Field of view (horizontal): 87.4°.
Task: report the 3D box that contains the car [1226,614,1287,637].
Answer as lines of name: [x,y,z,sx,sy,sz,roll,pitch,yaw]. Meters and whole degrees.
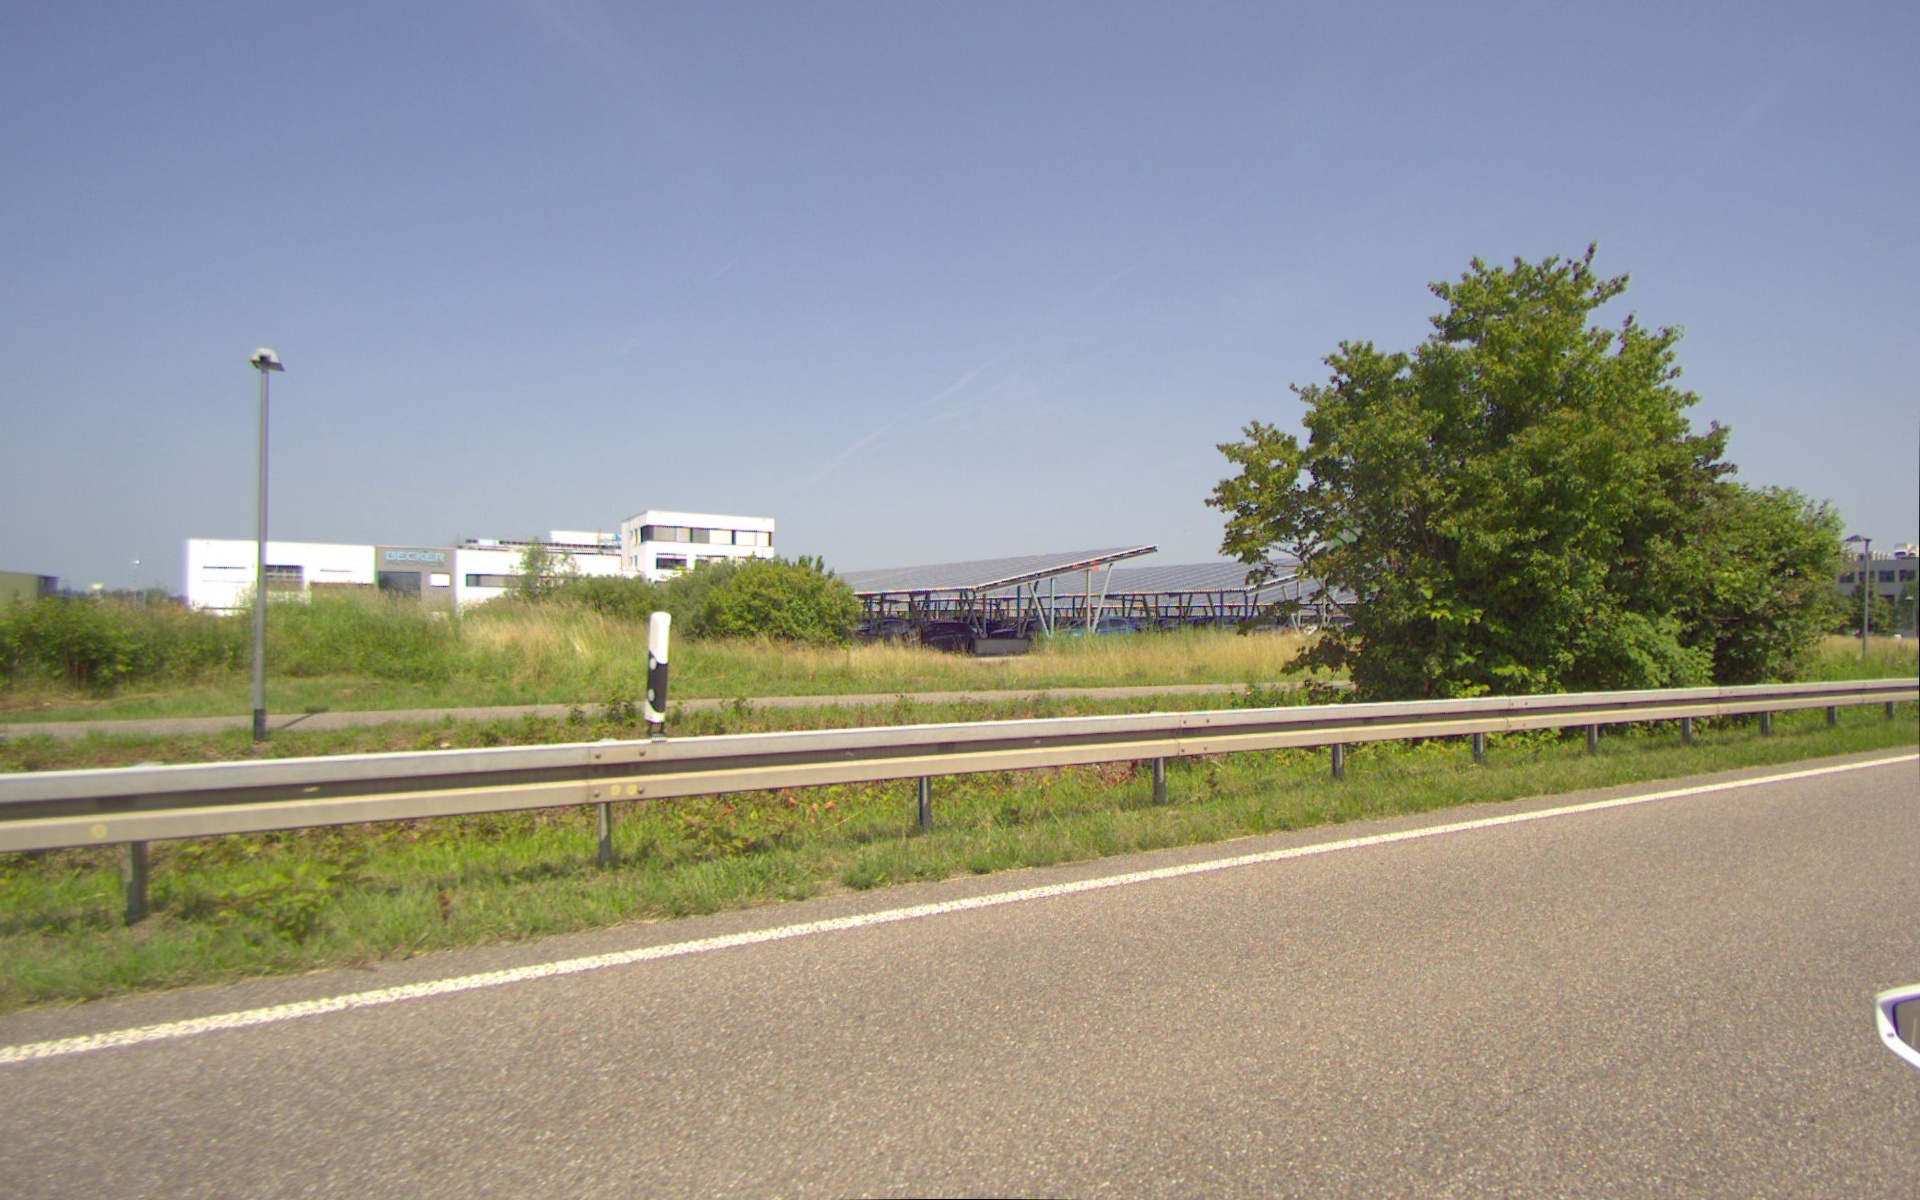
car: [17.062,1.473,57.857,3.328,1.308,1.609,1,-1,-33]

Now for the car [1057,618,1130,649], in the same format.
car: [8.285,2.048,62.279,4.212,1.828,1.984,1,0,-30]

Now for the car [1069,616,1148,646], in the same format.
car: [6.737,1.410,45.405,3.328,1.308,1.609,1,-1,-33]
